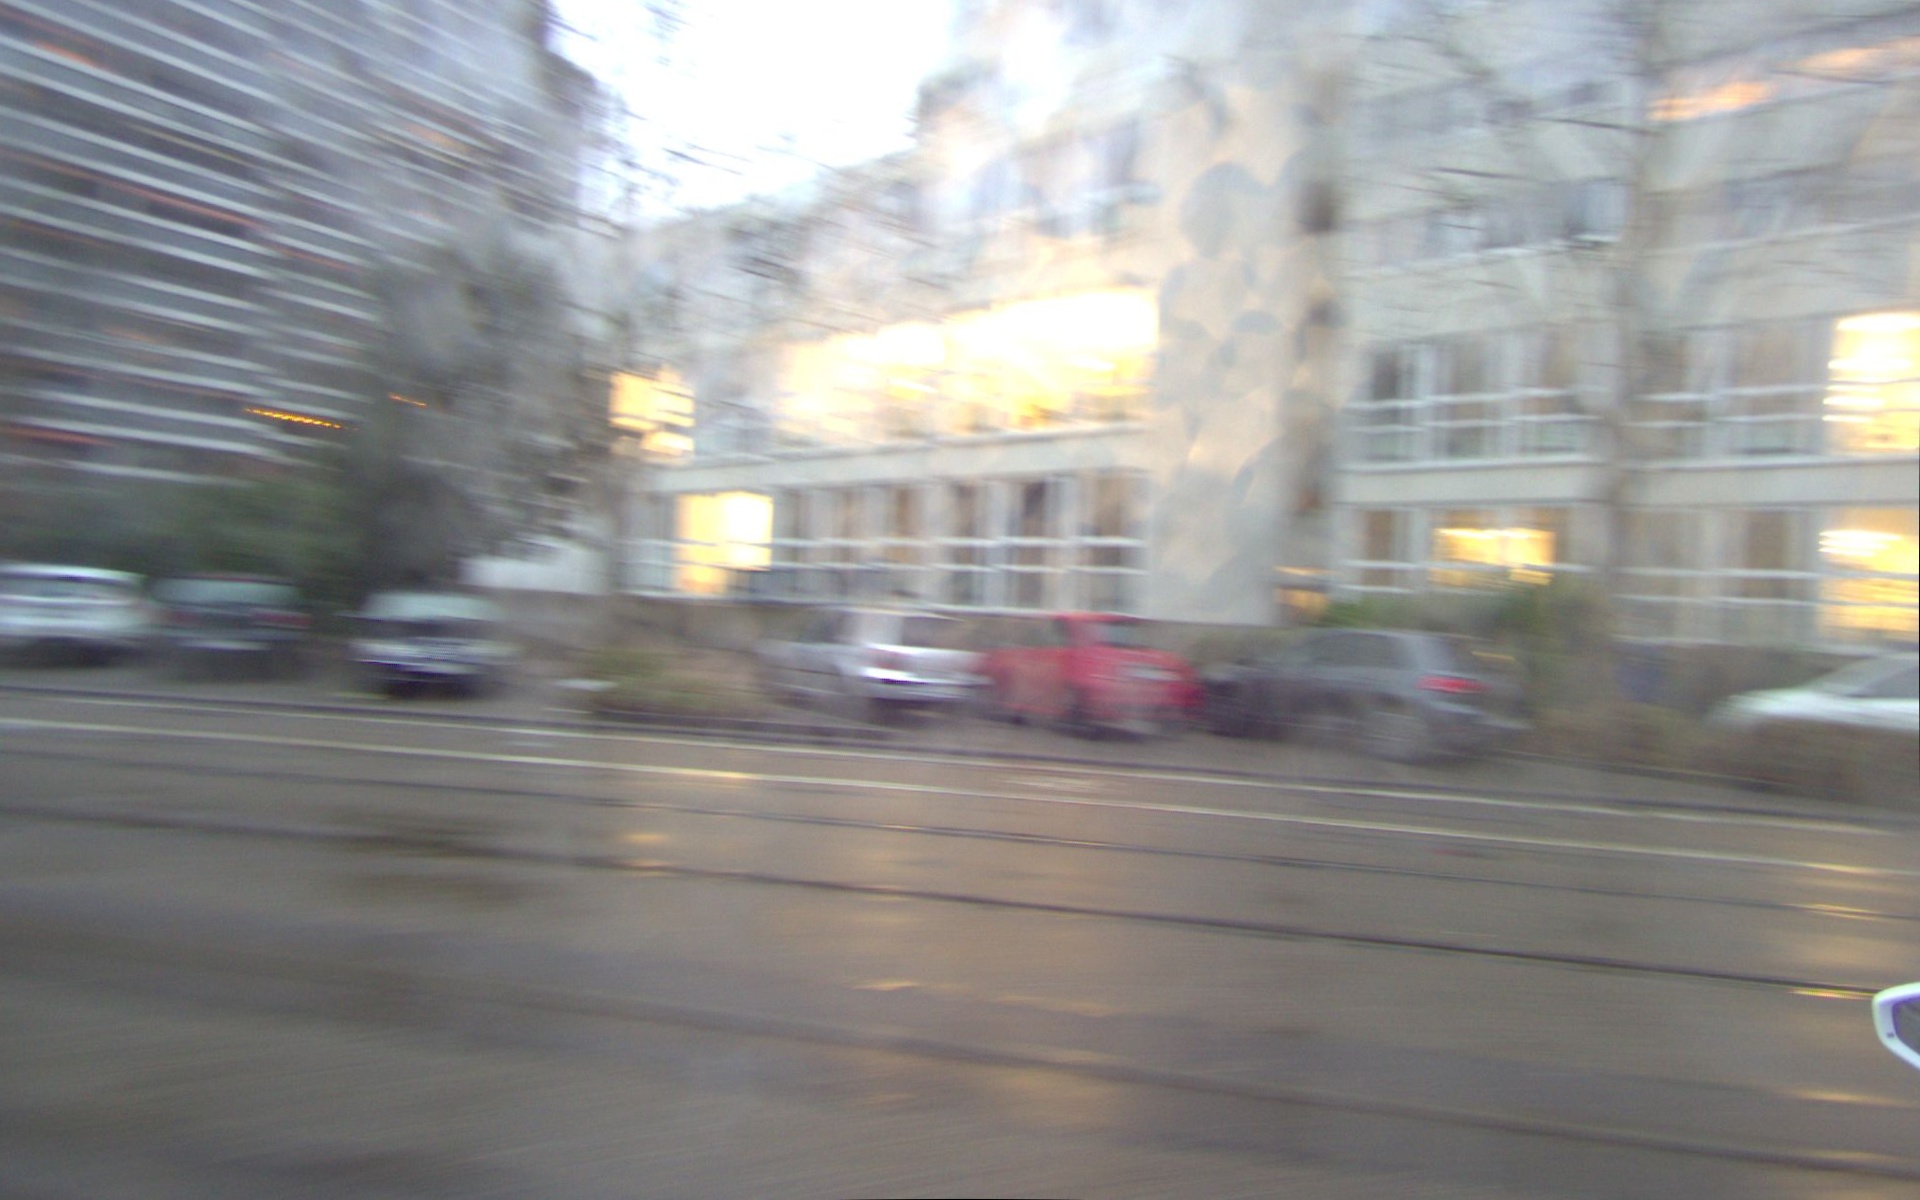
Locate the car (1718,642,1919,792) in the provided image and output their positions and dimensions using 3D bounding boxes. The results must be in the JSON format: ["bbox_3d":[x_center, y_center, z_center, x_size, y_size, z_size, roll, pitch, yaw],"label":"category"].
[{"bbox_3d":[11.184,1.340,11.362,1.676,1.572,3.840,3,-1,-34],"label":"car"}]

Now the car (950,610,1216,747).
[{"bbox_3d":[1.486,0.927,13.196,1.710,1.512,3.422,2,-1,-31],"label":"car"}]

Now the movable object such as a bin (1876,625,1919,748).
[{"bbox_3d":[15.506,1.349,15.581,1.291,1.884,1.576,1,-1,12],"label":"movable object such as a bin"}]

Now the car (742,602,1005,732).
[{"bbox_3d":[-1.306,0.792,13.524,1.775,1.465,3.961,3,-1,-35],"label":"car"}]

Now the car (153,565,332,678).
[{"bbox_3d":[-10.760,0.316,15.338,1.835,1.482,3.967,2,-1,-31],"label":"car"}]

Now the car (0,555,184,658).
[{"bbox_3d":[-13.923,0.111,16.107,1.835,1.418,3.967,2,-1,-31],"label":"car"}]

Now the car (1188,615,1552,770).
[{"bbox_3d":[4.786,0.992,12.222,1.678,1.512,3.819,3,-1,-33],"label":"car"}]

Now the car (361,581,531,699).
[{"bbox_3d":[-7.317,0.515,14.109,1.835,1.397,3.967,2,-1,-31],"label":"car"}]
